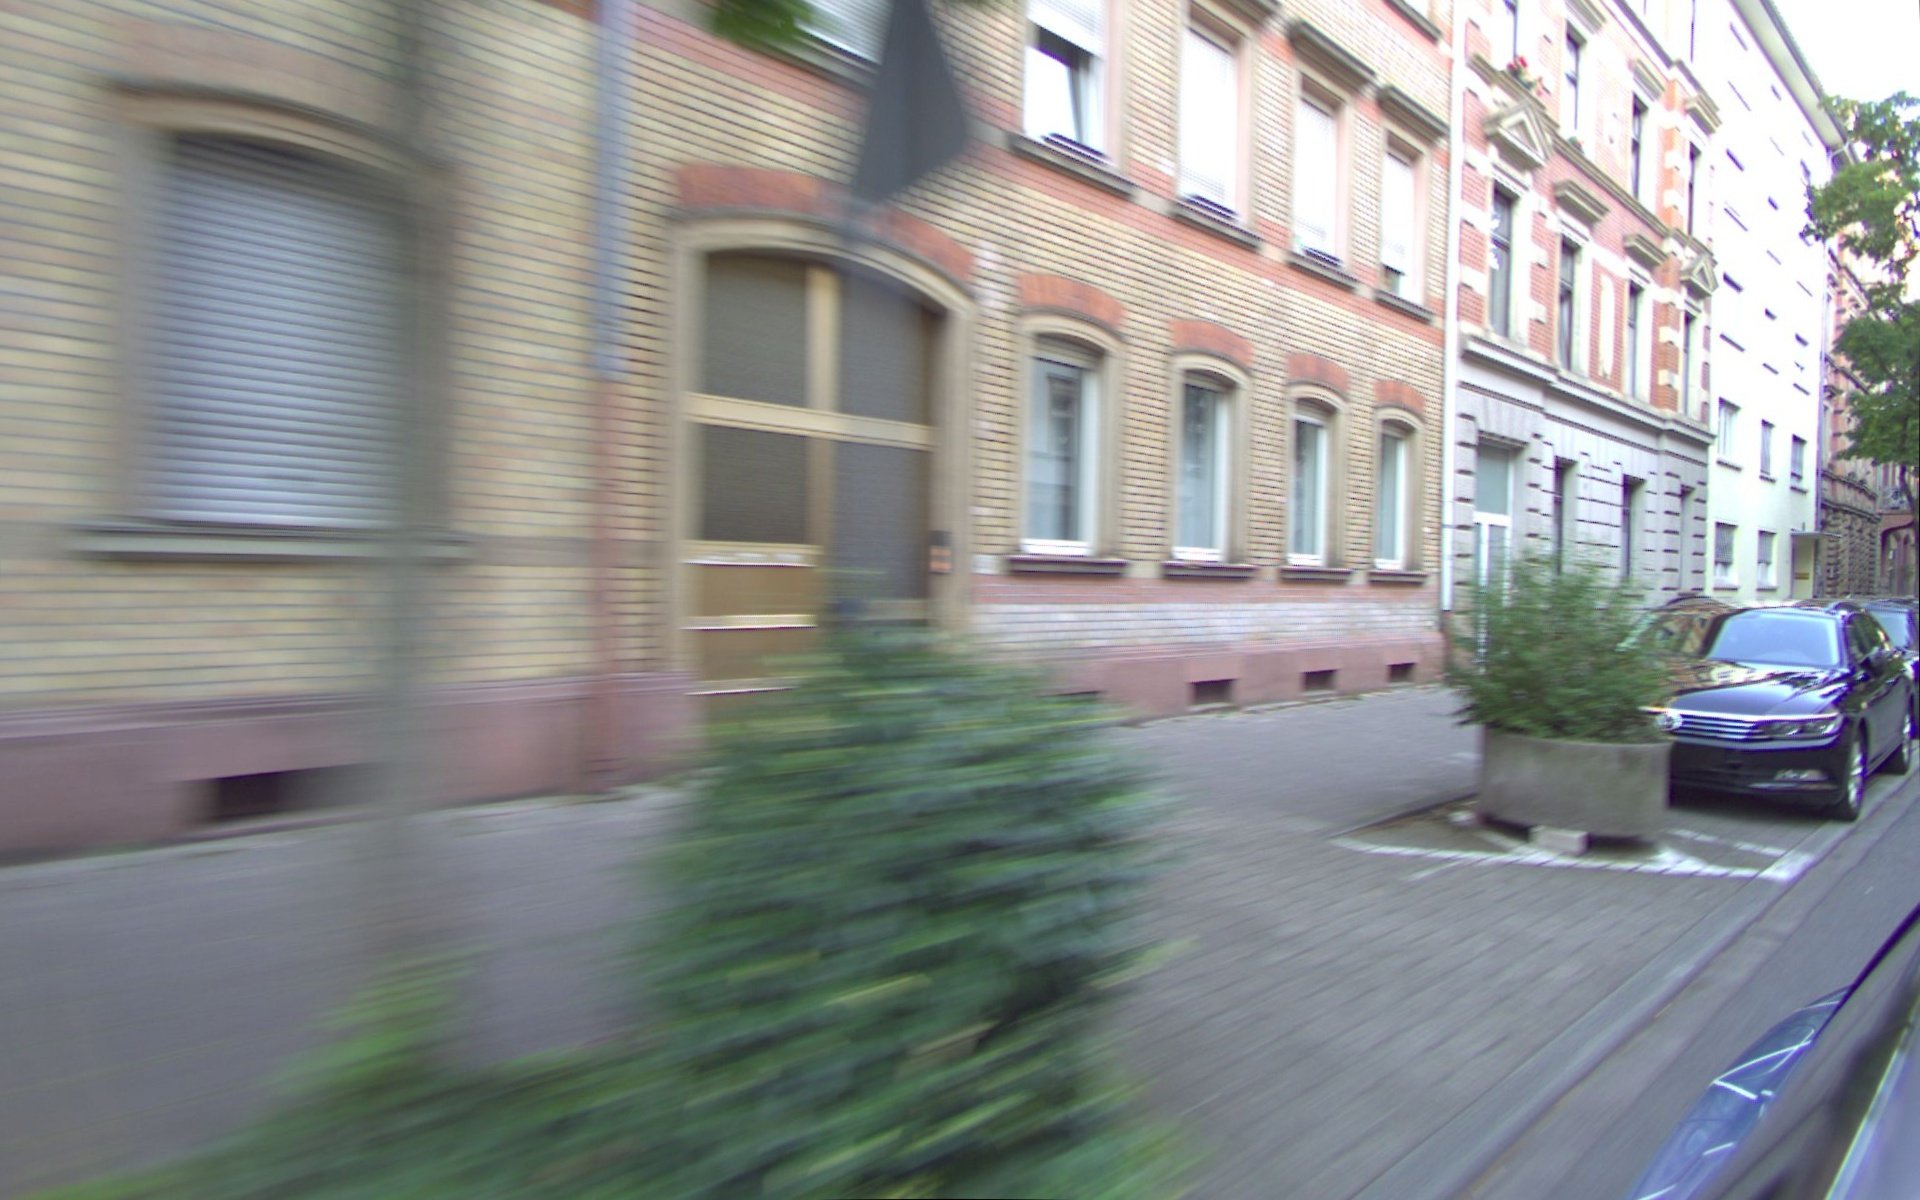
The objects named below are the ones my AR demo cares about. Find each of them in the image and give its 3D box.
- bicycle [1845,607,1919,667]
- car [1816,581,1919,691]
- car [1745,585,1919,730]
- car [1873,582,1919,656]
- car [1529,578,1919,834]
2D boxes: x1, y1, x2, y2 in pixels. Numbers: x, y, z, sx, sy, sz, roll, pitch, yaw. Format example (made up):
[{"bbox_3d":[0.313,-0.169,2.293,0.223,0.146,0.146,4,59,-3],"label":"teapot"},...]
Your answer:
[{"bbox_3d":[16.884,0.655,17.763,1.904,0.994,0.632,1,1,29],"label":"bicycle"},{"bbox_3d":[14.835,0.505,15.775,4.294,1.494,1.719,0,3,-43],"label":"car"},{"bbox_3d":[10.769,0.580,12.047,3.503,1.441,1.638,0,3,-42],"label":"car"},{"bbox_3d":[21.194,0.389,21.821,4.233,1.481,1.762,0,2,-42],"label":"car"},{"bbox_3d":[6.373,0.600,8.057,4.395,1.432,1.771,0,3,-41],"label":"car"}]
